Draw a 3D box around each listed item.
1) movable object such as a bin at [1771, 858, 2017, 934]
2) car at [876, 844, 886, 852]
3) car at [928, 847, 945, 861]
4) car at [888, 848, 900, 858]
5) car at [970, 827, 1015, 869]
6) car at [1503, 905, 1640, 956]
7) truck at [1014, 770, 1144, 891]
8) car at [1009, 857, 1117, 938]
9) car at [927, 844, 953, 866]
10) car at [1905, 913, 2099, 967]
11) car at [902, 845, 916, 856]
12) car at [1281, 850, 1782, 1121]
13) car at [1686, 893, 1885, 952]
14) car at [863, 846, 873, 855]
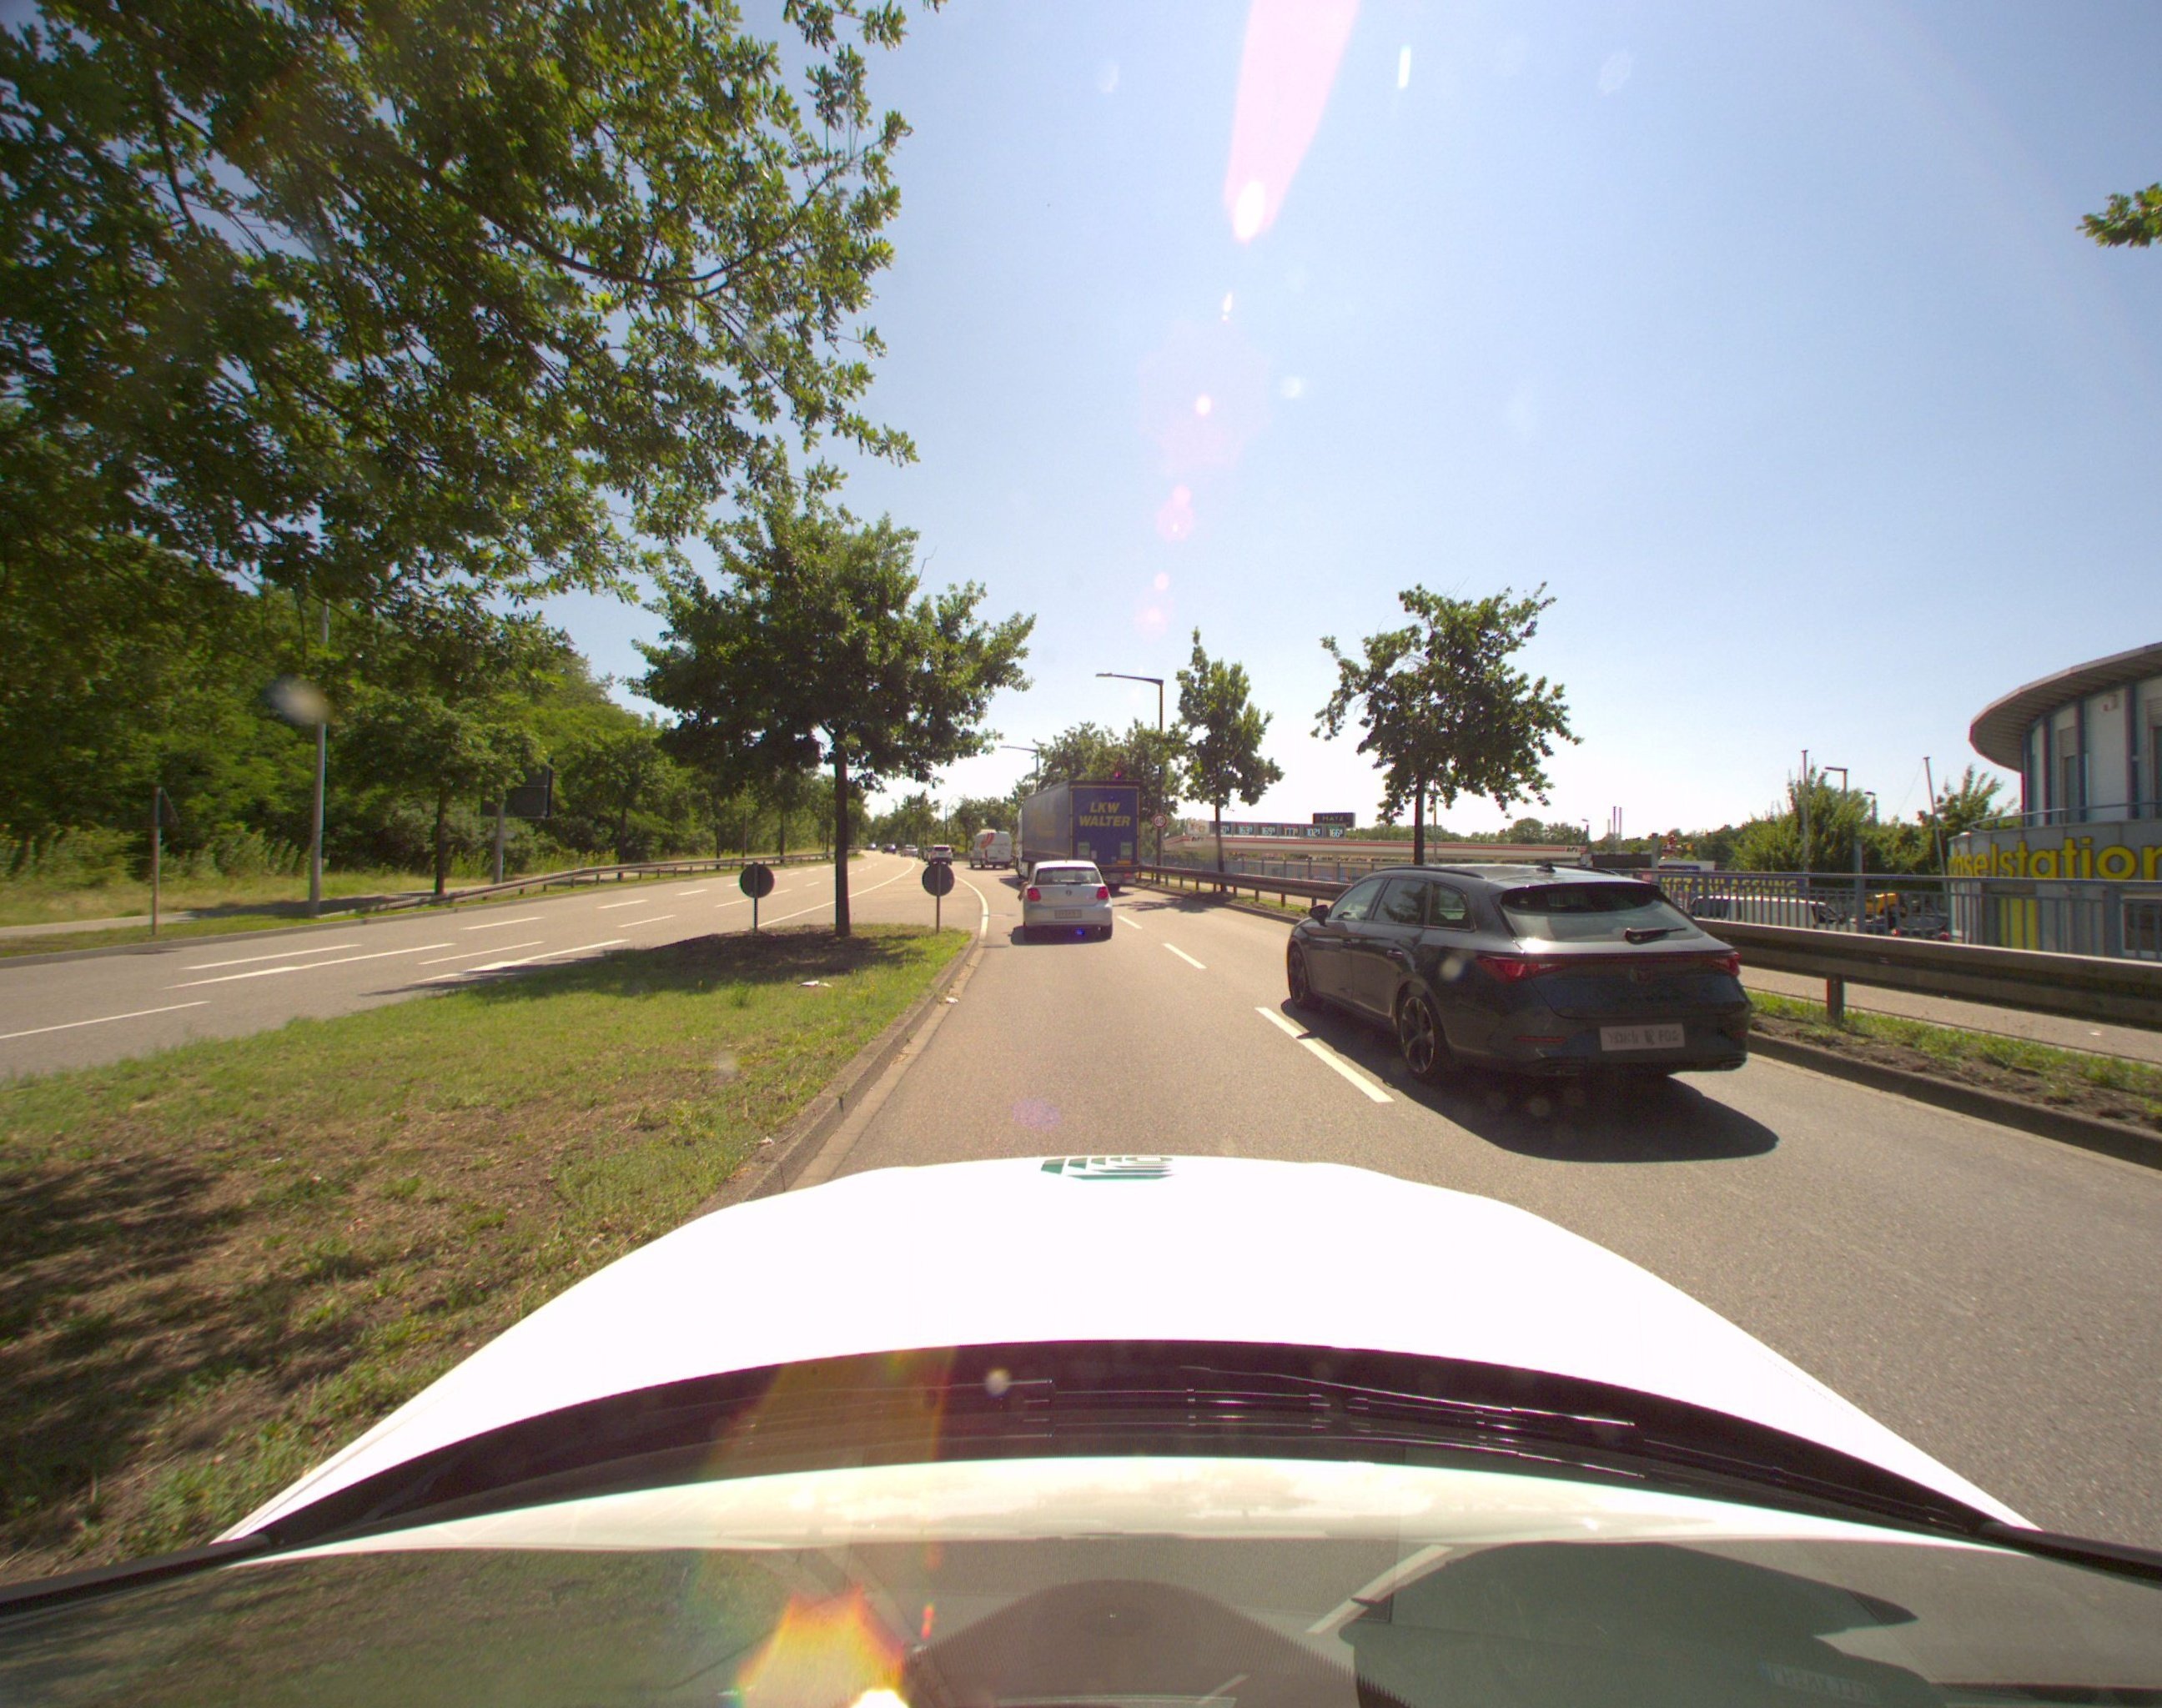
[{"bbox_3d":[41.765,2.100,41.944,11.039,3.708,3.028,0,-2,-9],"label":"movable object such as a bin"},{"bbox_3d":[-34.363,-0.982,140.073,1.457,1.314,3.623,0,-1,-11],"label":"car"},{"bbox_3d":[-14.192,0.013,79.865,1.496,1.360,3.647,0,-1,-12],"label":"car"},{"bbox_3d":[-28.264,-0.140,123.385,1.666,1.465,3.566,0,-1,-11],"label":"car"},{"bbox_3d":[-6.572,-0.448,59.620,2.180,2.900,6.323,0,0,-16],"label":"car"},{"bbox_3d":[14.882,2.270,24.824,1.471,1.309,3.281,1,-2,-37],"label":"car"},{"bbox_3d":[-0.710,-0.739,36.637,2.834,4.198,16.410,0,-1,-11],"label":"truck"},{"bbox_3d":[-0.467,0.811,16.314,1.646,1.439,3.524,0,-1,-10],"label":"car"},{"bbox_3d":[-12.075,0.117,69.514,1.906,1.718,4.202,1,-1,-15],"label":"car"},{"bbox_3d":[27.179,2.512,24.098,4.121,1.475,1.471,0,-2,-1],"label":"car"},{"bbox_3d":[-21.555,-0.458,101.971,1.611,1.360,3.643,0,-1,-15],"label":"car"},{"bbox_3d":[2.980,0.760,6.555,1.600,1.456,4.232,0,-1,-2],"label":"car"},{"bbox_3d":[20.908,2.021,24.265,4.580,1.660,1.595,0,-2,-1],"label":"car"},{"bbox_3d":[-40.910,-0.750,156.501,1.681,1.671,3.738,0,2,-14],"label":"car"}]
